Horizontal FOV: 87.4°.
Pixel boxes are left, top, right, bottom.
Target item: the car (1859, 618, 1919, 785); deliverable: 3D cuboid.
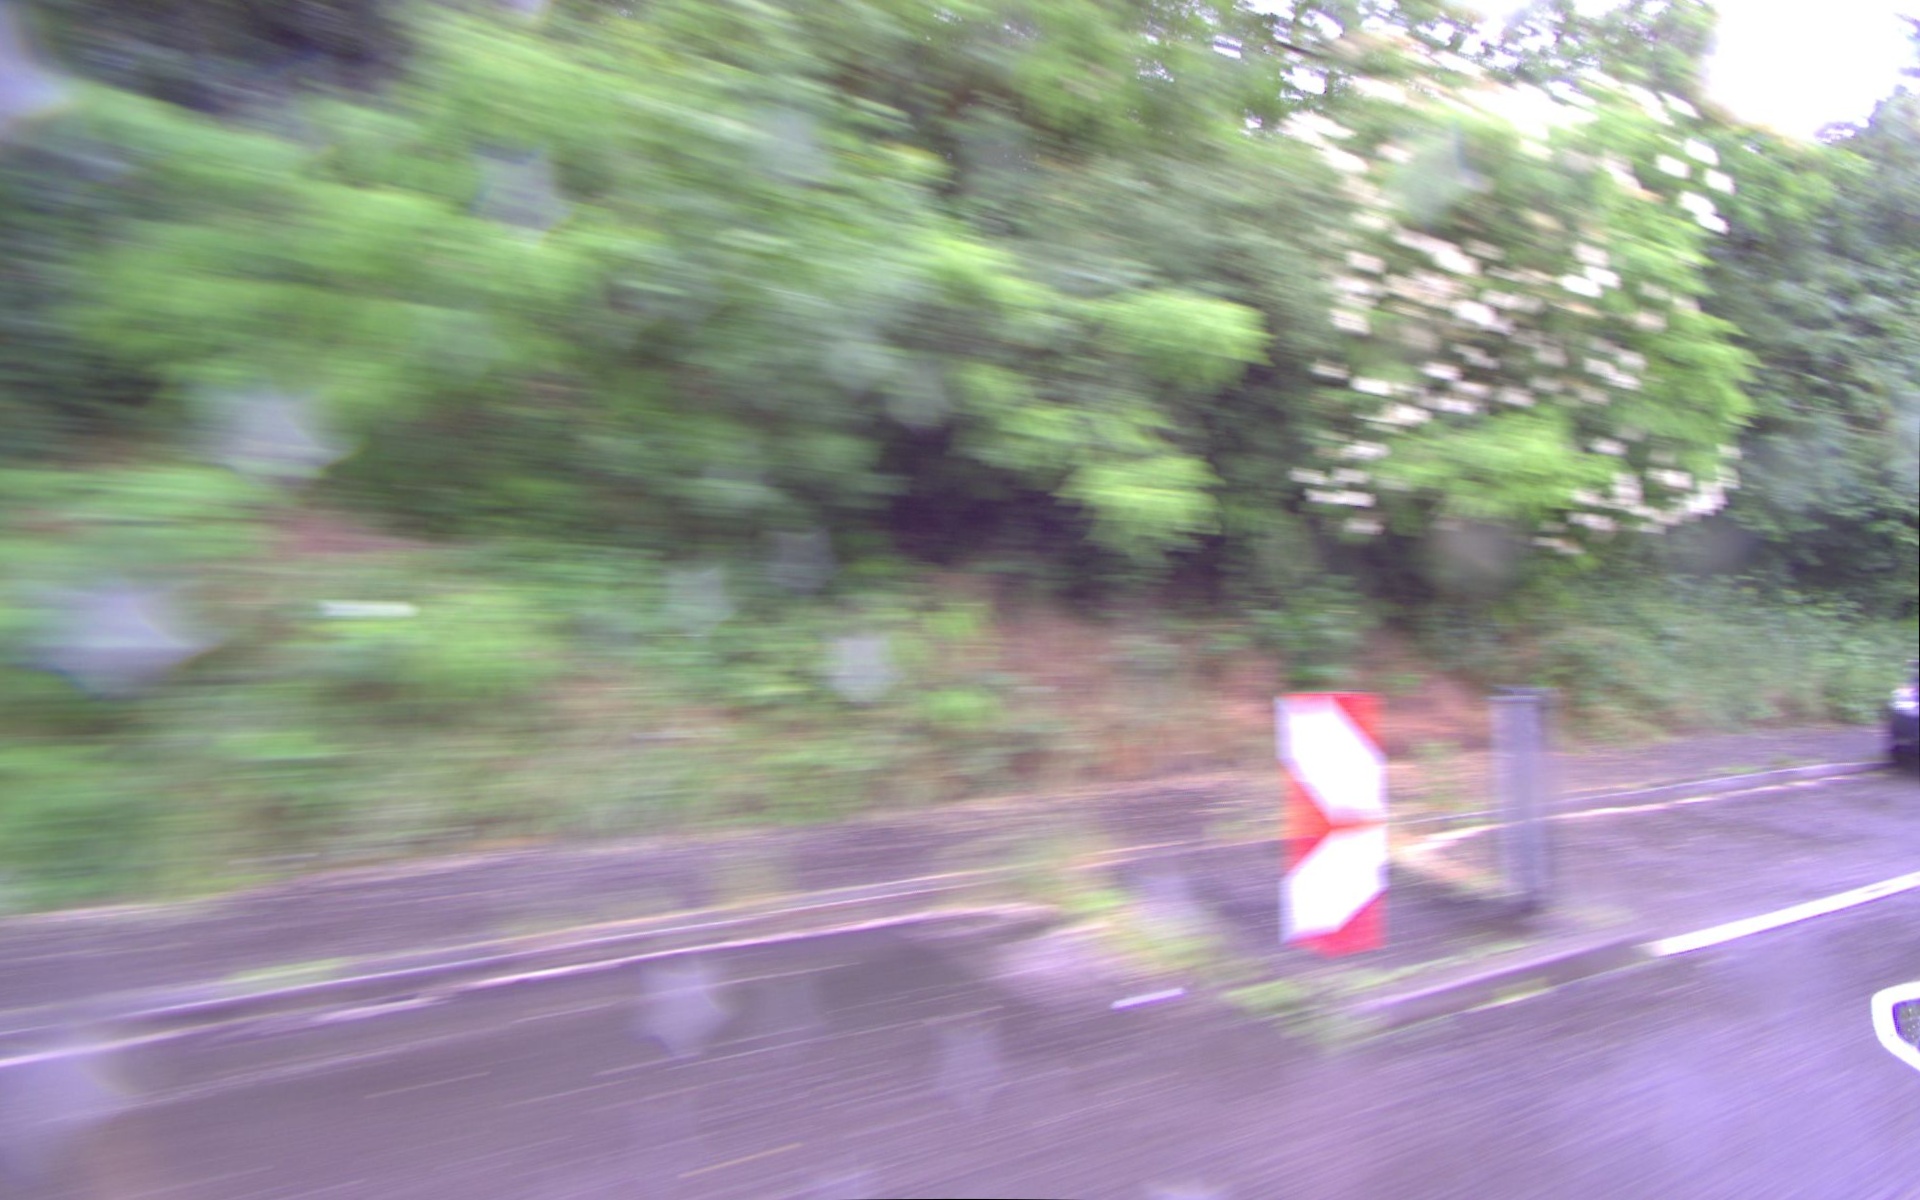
[{"bbox_3d":[10.544,0.943,9.618,3.951,1.491,1.692,1,1,-29],"label":"car"}]
